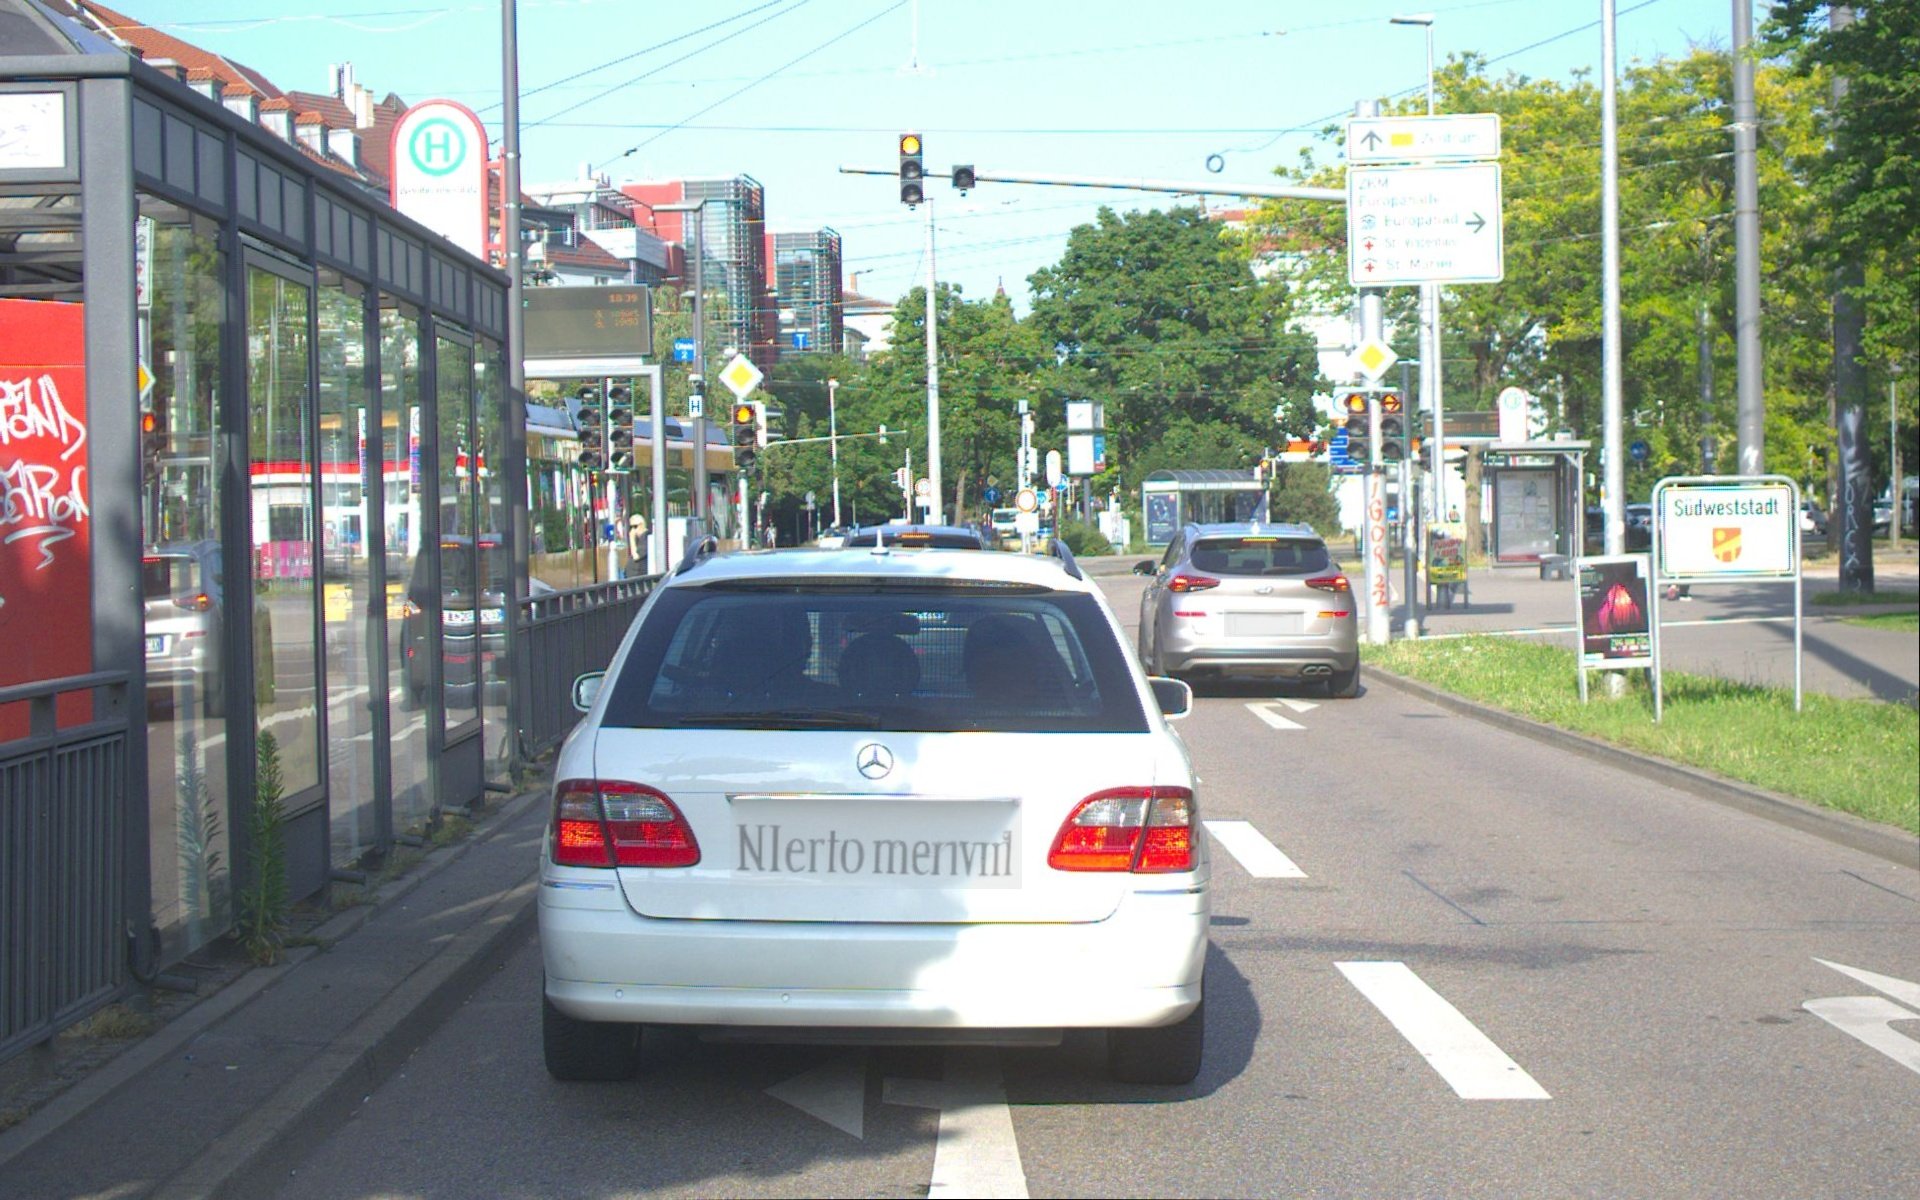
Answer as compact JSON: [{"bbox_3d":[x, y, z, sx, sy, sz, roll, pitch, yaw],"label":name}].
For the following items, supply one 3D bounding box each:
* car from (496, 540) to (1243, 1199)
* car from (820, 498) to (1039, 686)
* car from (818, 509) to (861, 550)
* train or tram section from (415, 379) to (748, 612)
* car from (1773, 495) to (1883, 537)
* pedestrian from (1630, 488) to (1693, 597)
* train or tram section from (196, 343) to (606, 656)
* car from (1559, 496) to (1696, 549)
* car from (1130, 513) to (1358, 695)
[{"bbox_3d":[-0.248,0.622,10.266,1.758,1.498,4.001,-1,2,-1],"label":"car"},{"bbox_3d":[-0.227,-0.131,32.878,1.787,1.684,4.000,0,2,4],"label":"car"},{"bbox_3d":[-5.989,-3.526,171.296,1.993,2.007,4.000,-1,1,-1],"label":"car"},{"bbox_3d":[-6.052,-1.754,57.774,2.850,3.467,13.198,0,2,6],"label":"train or tram section"},{"bbox_3d":[35.242,-3.410,139.543,3.986,1.645,2.000,-2,1,-27],"label":"car"},{"bbox_3d":[10.704,-0.886,52.471,0.887,1.646,0.746,0,2,8],"label":"pedestrian"},{"bbox_3d":[-6.908,-1.332,44.858,2.849,3.467,13.200,0,2,2],"label":"train or tram section"},{"bbox_3d":[21.773,-2.520,112.073,3.992,1.645,1.997,-1,1,25],"label":"car"},{"bbox_3d":[2.674,-0.011,32.813,2.033,1.600,4.000,0,2,4],"label":"car"}]
